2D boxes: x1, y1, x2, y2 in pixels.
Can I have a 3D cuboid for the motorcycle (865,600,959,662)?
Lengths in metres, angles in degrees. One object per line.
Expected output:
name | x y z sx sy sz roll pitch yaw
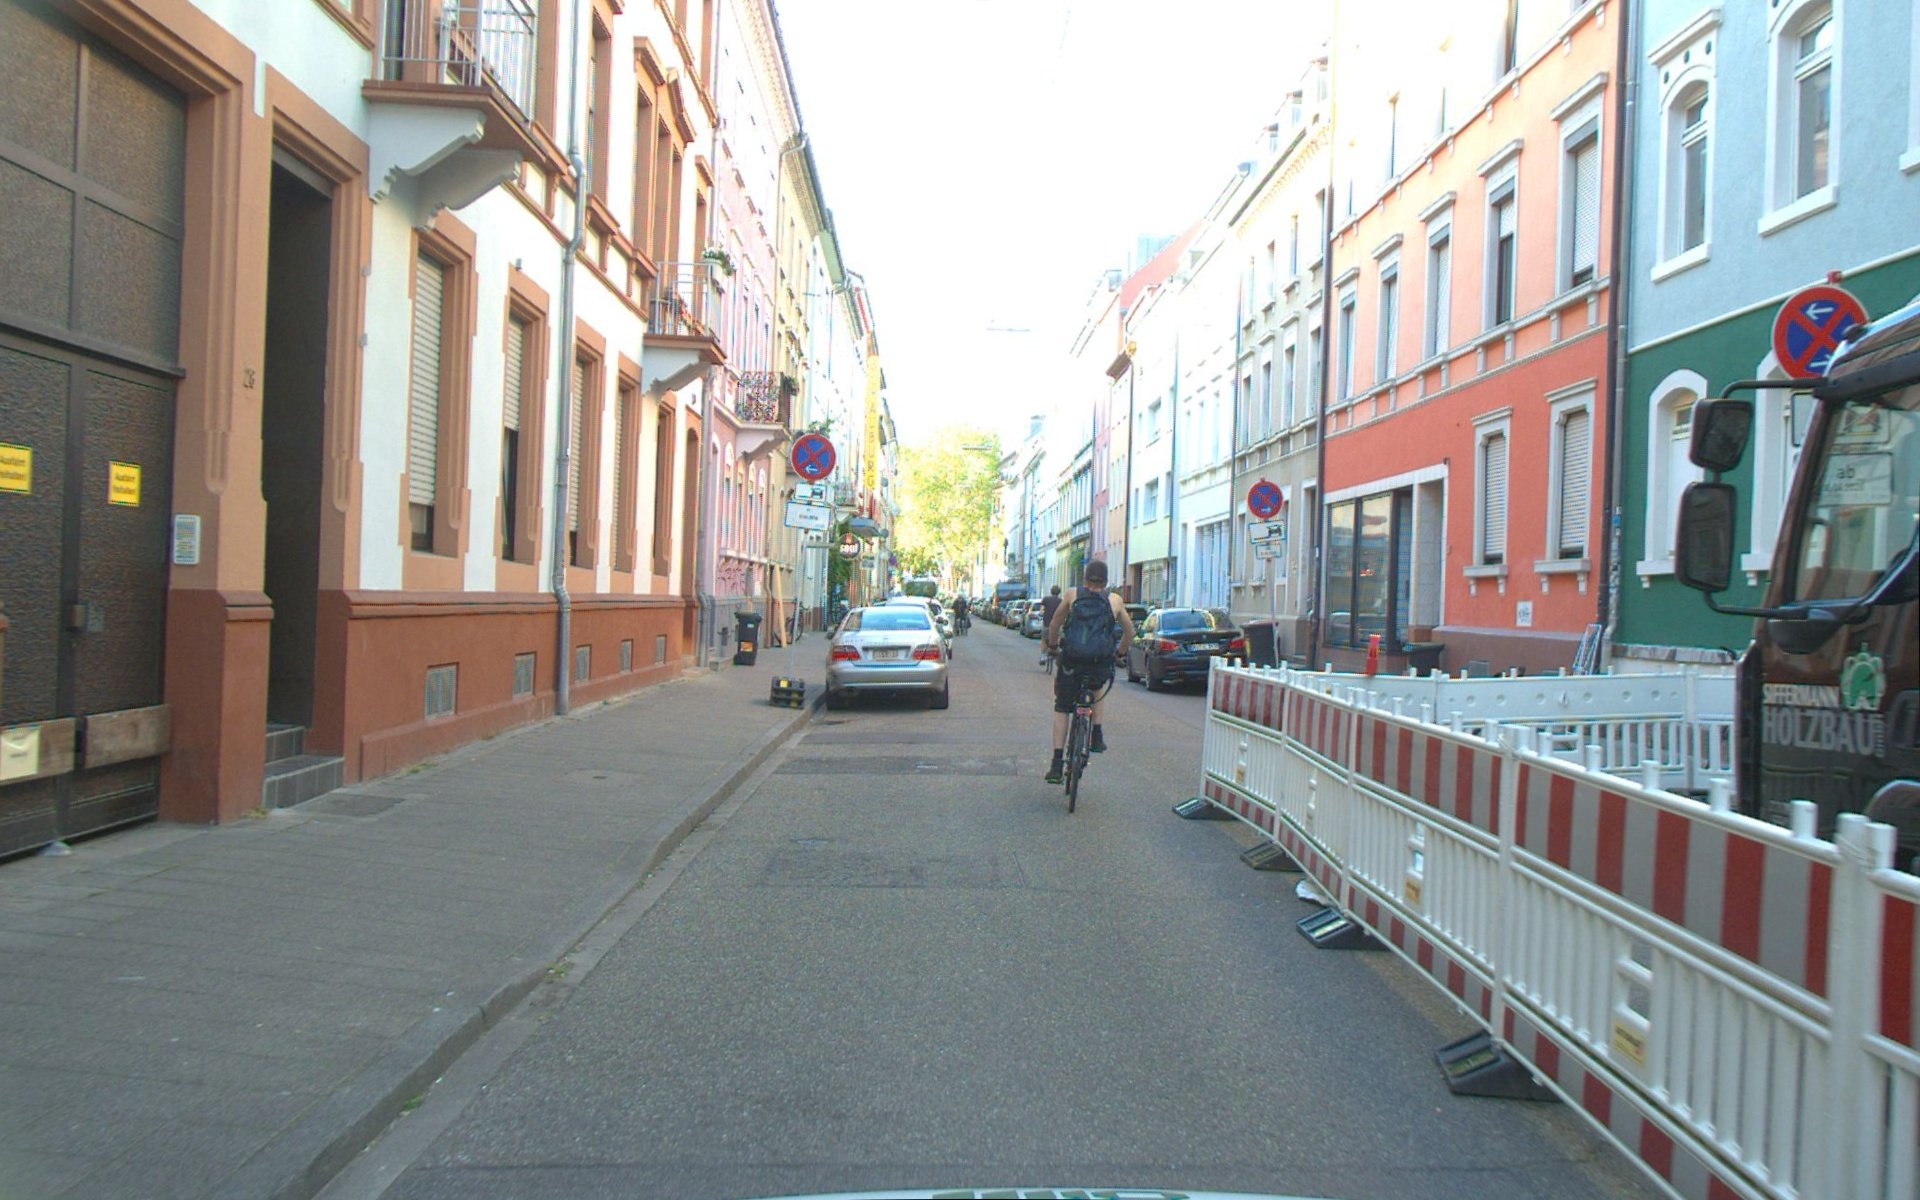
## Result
motorcycle | -1.104 0.702 38.350 2.114 1.383 0.537 -1 1 -20

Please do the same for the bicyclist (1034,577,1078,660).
bicyclist | 1.981 0.380 34.290 0.688 1.632 0.812 5 1 -2

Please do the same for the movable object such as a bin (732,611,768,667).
movable object such as a bin | -3.743 0.690 29.487 0.532 0.961 0.487 3 -1 0

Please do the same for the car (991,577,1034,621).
car | 3.135 -0.026 100.094 2.261 2.582 6.767 0 0 -1

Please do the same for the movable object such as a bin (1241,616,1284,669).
movable object such as a bin | 6.395 0.892 34.966 0.722 1.094 0.676 -1 -1 -8

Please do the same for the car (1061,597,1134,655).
car | 3.878 0.729 47.295 1.676 1.583 3.999 0 0 -1

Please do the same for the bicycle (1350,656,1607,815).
bicycle | 4.118 1.071 13.173 1.815 1.129 0.642 3 -1 -8

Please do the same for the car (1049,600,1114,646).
car | 3.826 0.728 52.629 1.676 1.407 3.999 0 0 -1

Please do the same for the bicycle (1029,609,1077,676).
bicycle | 1.925 0.869 34.432 0.688 1.228 2.341 6 1 -2

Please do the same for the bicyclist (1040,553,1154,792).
bicyclist | 0.993 0.518 12.205 0.688 1.662 1.090 2 -1 -1

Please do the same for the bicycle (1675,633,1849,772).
bicycle | 7.355 0.906 15.261 0.641 1.148 1.834 -2 0 -1

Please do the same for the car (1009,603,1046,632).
car | 3.419 0.891 84.346 1.676 1.473 3.999 0 0 -1

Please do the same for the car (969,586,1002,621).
car | 1.928 0.295 125.512 2.261 2.582 6.767 0 0 -1

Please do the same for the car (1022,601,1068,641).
car | 3.447 0.834 67.611 1.588 1.577 3.999 0 0 -1

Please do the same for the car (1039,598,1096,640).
car | 3.732 0.662 57.946 1.676 1.407 3.999 0 0 -1

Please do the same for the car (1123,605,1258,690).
car | 4.246 0.842 31.212 1.780 1.463 4.789 0 0 -1

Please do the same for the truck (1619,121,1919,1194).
truck | 3.889 0.174 2.546 2.607 2.863 7.391 3 0 -1

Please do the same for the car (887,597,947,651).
car | -1.217 0.679 47.015 1.638 1.467 3.767 0 0 -1

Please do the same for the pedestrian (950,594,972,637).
pedestrian | 0.040 0.596 64.584 0.755 1.606 0.900 3 -1 -2

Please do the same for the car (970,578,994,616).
car | 2.315 -0.266 172.910 2.261 3.834 6.767 0 0 -1

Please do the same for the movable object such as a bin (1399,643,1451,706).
movable object such as a bin | 6.994 1.119 24.877 0.585 0.922 0.579 -1 -1 -3

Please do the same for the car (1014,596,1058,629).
car | 3.337 0.546 72.970 1.676 1.418 3.999 0 0 -1

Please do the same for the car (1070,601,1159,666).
car | 3.856 0.822 41.780 1.780 1.548 3.999 0 0 -1

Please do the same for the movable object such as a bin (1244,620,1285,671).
movable object such as a bin | 6.643 0.984 36.090 0.790 1.094 0.678 -1 -1 3

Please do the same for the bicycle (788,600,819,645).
bicycle | -4.025 0.579 42.683 0.580 1.108 2.078 3 -1 -1

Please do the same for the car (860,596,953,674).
car | -1.059 0.680 34.435 1.675 1.407 4.356 2 1 1

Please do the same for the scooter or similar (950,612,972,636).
scooter or similar | 0.042 0.942 64.145 0.755 0.888 0.770 3 -1 -2

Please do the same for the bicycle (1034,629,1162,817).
bicycle | 0.987 0.854 12.370 0.688 1.229 2.341 2 0 -1

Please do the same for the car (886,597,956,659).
car | -0.968 0.667 41.116 1.638 1.467 4.164 0 0 -1

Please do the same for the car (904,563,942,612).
car | -2.008 -0.647 88.652 1.871 2.540 4.163 1 0 -3

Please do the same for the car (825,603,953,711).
car | -0.980 0.760 23.920 1.676 1.407 4.504 0 0 -1
